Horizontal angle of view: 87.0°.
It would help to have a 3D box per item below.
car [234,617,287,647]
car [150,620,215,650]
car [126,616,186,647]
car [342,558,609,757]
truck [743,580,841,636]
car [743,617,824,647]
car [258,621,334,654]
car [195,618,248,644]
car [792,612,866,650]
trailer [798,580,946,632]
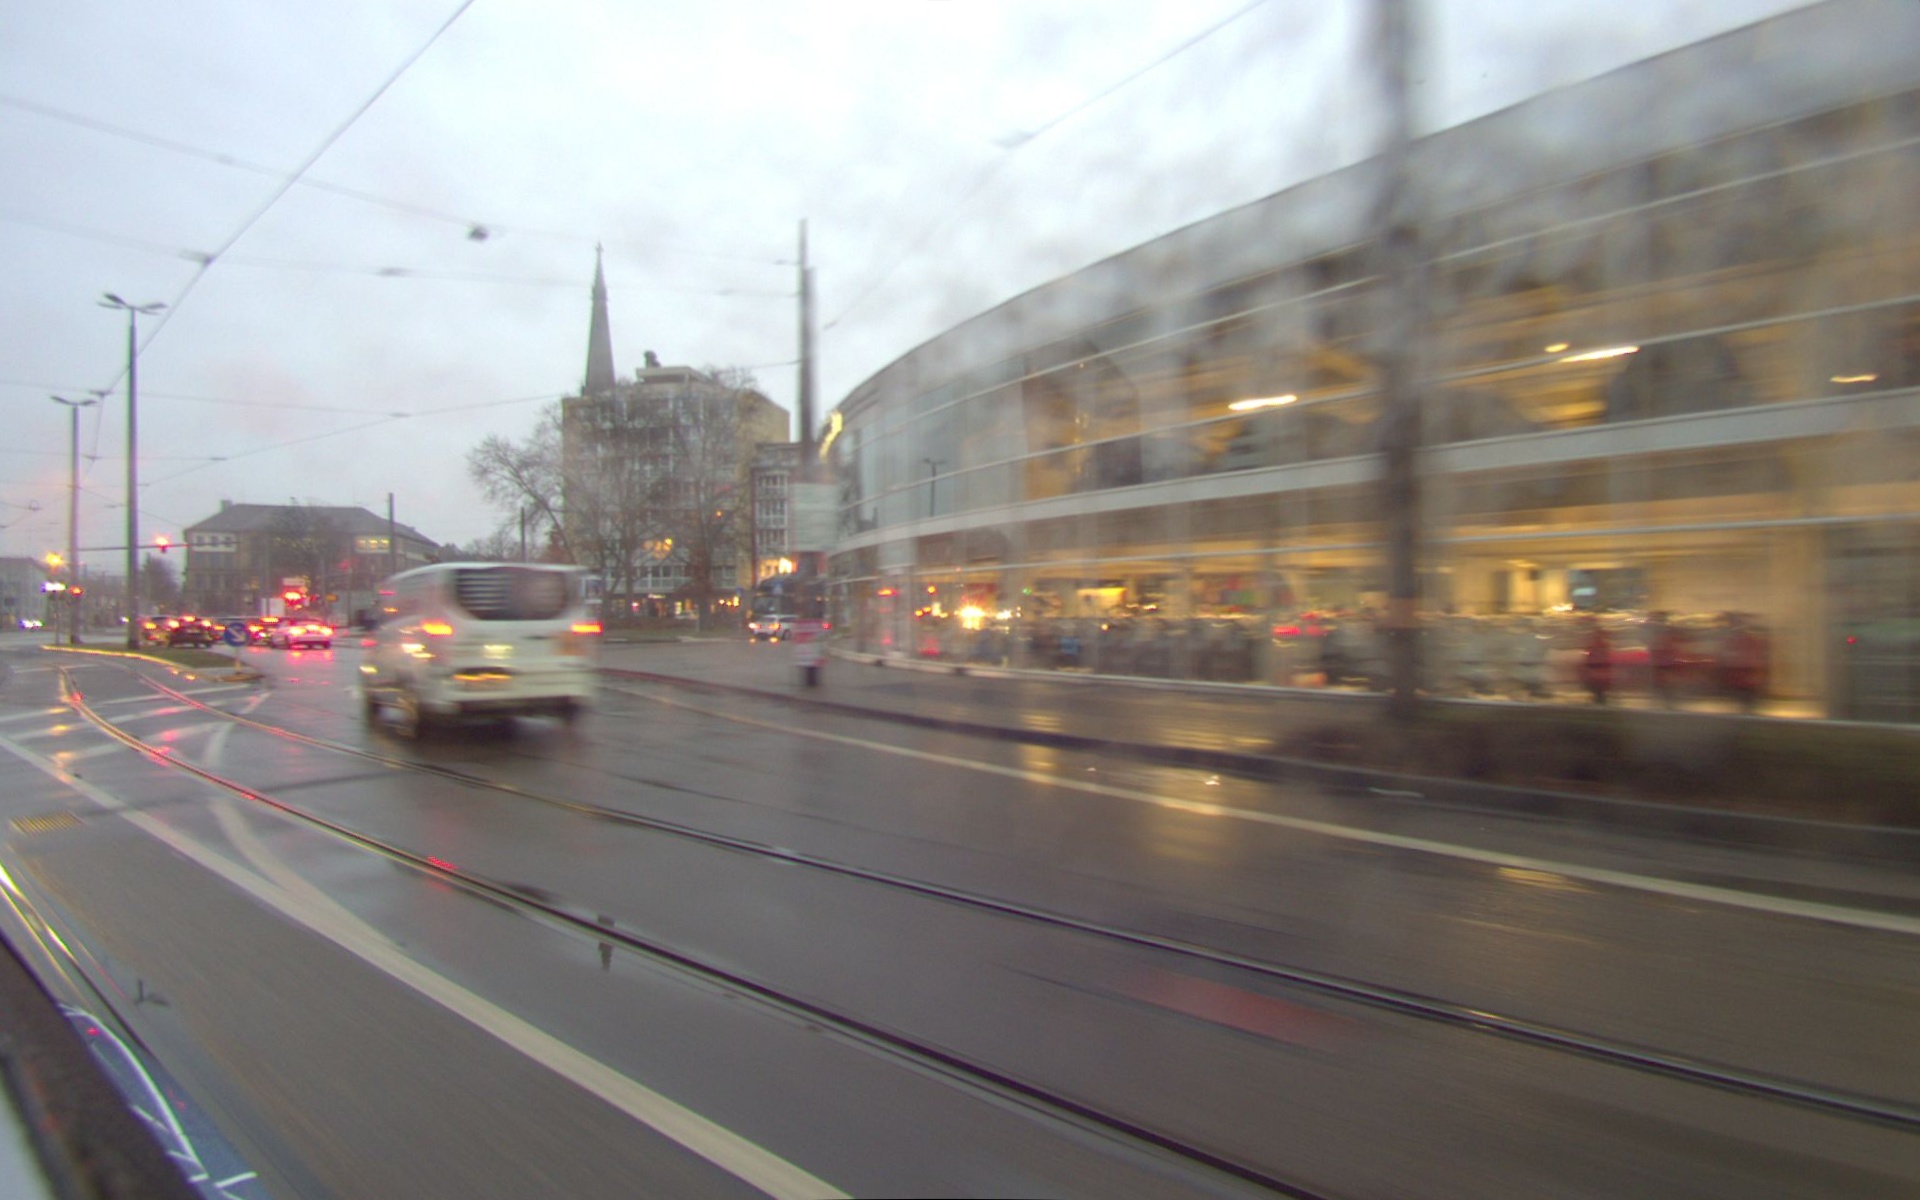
[{"bbox_3d":[-36.170,1.632,52.294,3.472,1.429,1.583,-1,0,43],"label":"car"},{"bbox_3d":[-37.475,1.651,48.744,4.001,1.401,1.851,-1,-2,43],"label":"car"},{"bbox_3d":[-42.623,1.647,53.601,4.000,1.497,1.879,-1,0,43],"label":"car"},{"bbox_3d":[-6.269,0.581,12.763,1.968,2.029,4.693,-1,1,-39],"label":"car"},{"bbox_3d":[-10.844,0.464,66.010,2.648,3.443,6.686,-1,1,31],"label":"truck"},{"bbox_3d":[-9.975,1.800,57.630,1.992,1.508,4.762,-1,0,29],"label":"car"},{"bbox_3d":[-31.151,1.709,47.450,4.588,1.432,1.972,-1,0,43],"label":"car"},{"bbox_3d":[-41.921,1.718,57.432,4.000,1.368,1.705,-1,0,43],"label":"car"},{"bbox_3d":[-5.541,1.277,43.238,1.726,1.409,4.275,-1,1,13],"label":"car"},{"bbox_3d":[-6.031,0.292,74.163,2.627,3.443,14.900,-1,1,31],"label":"trailer"}]
